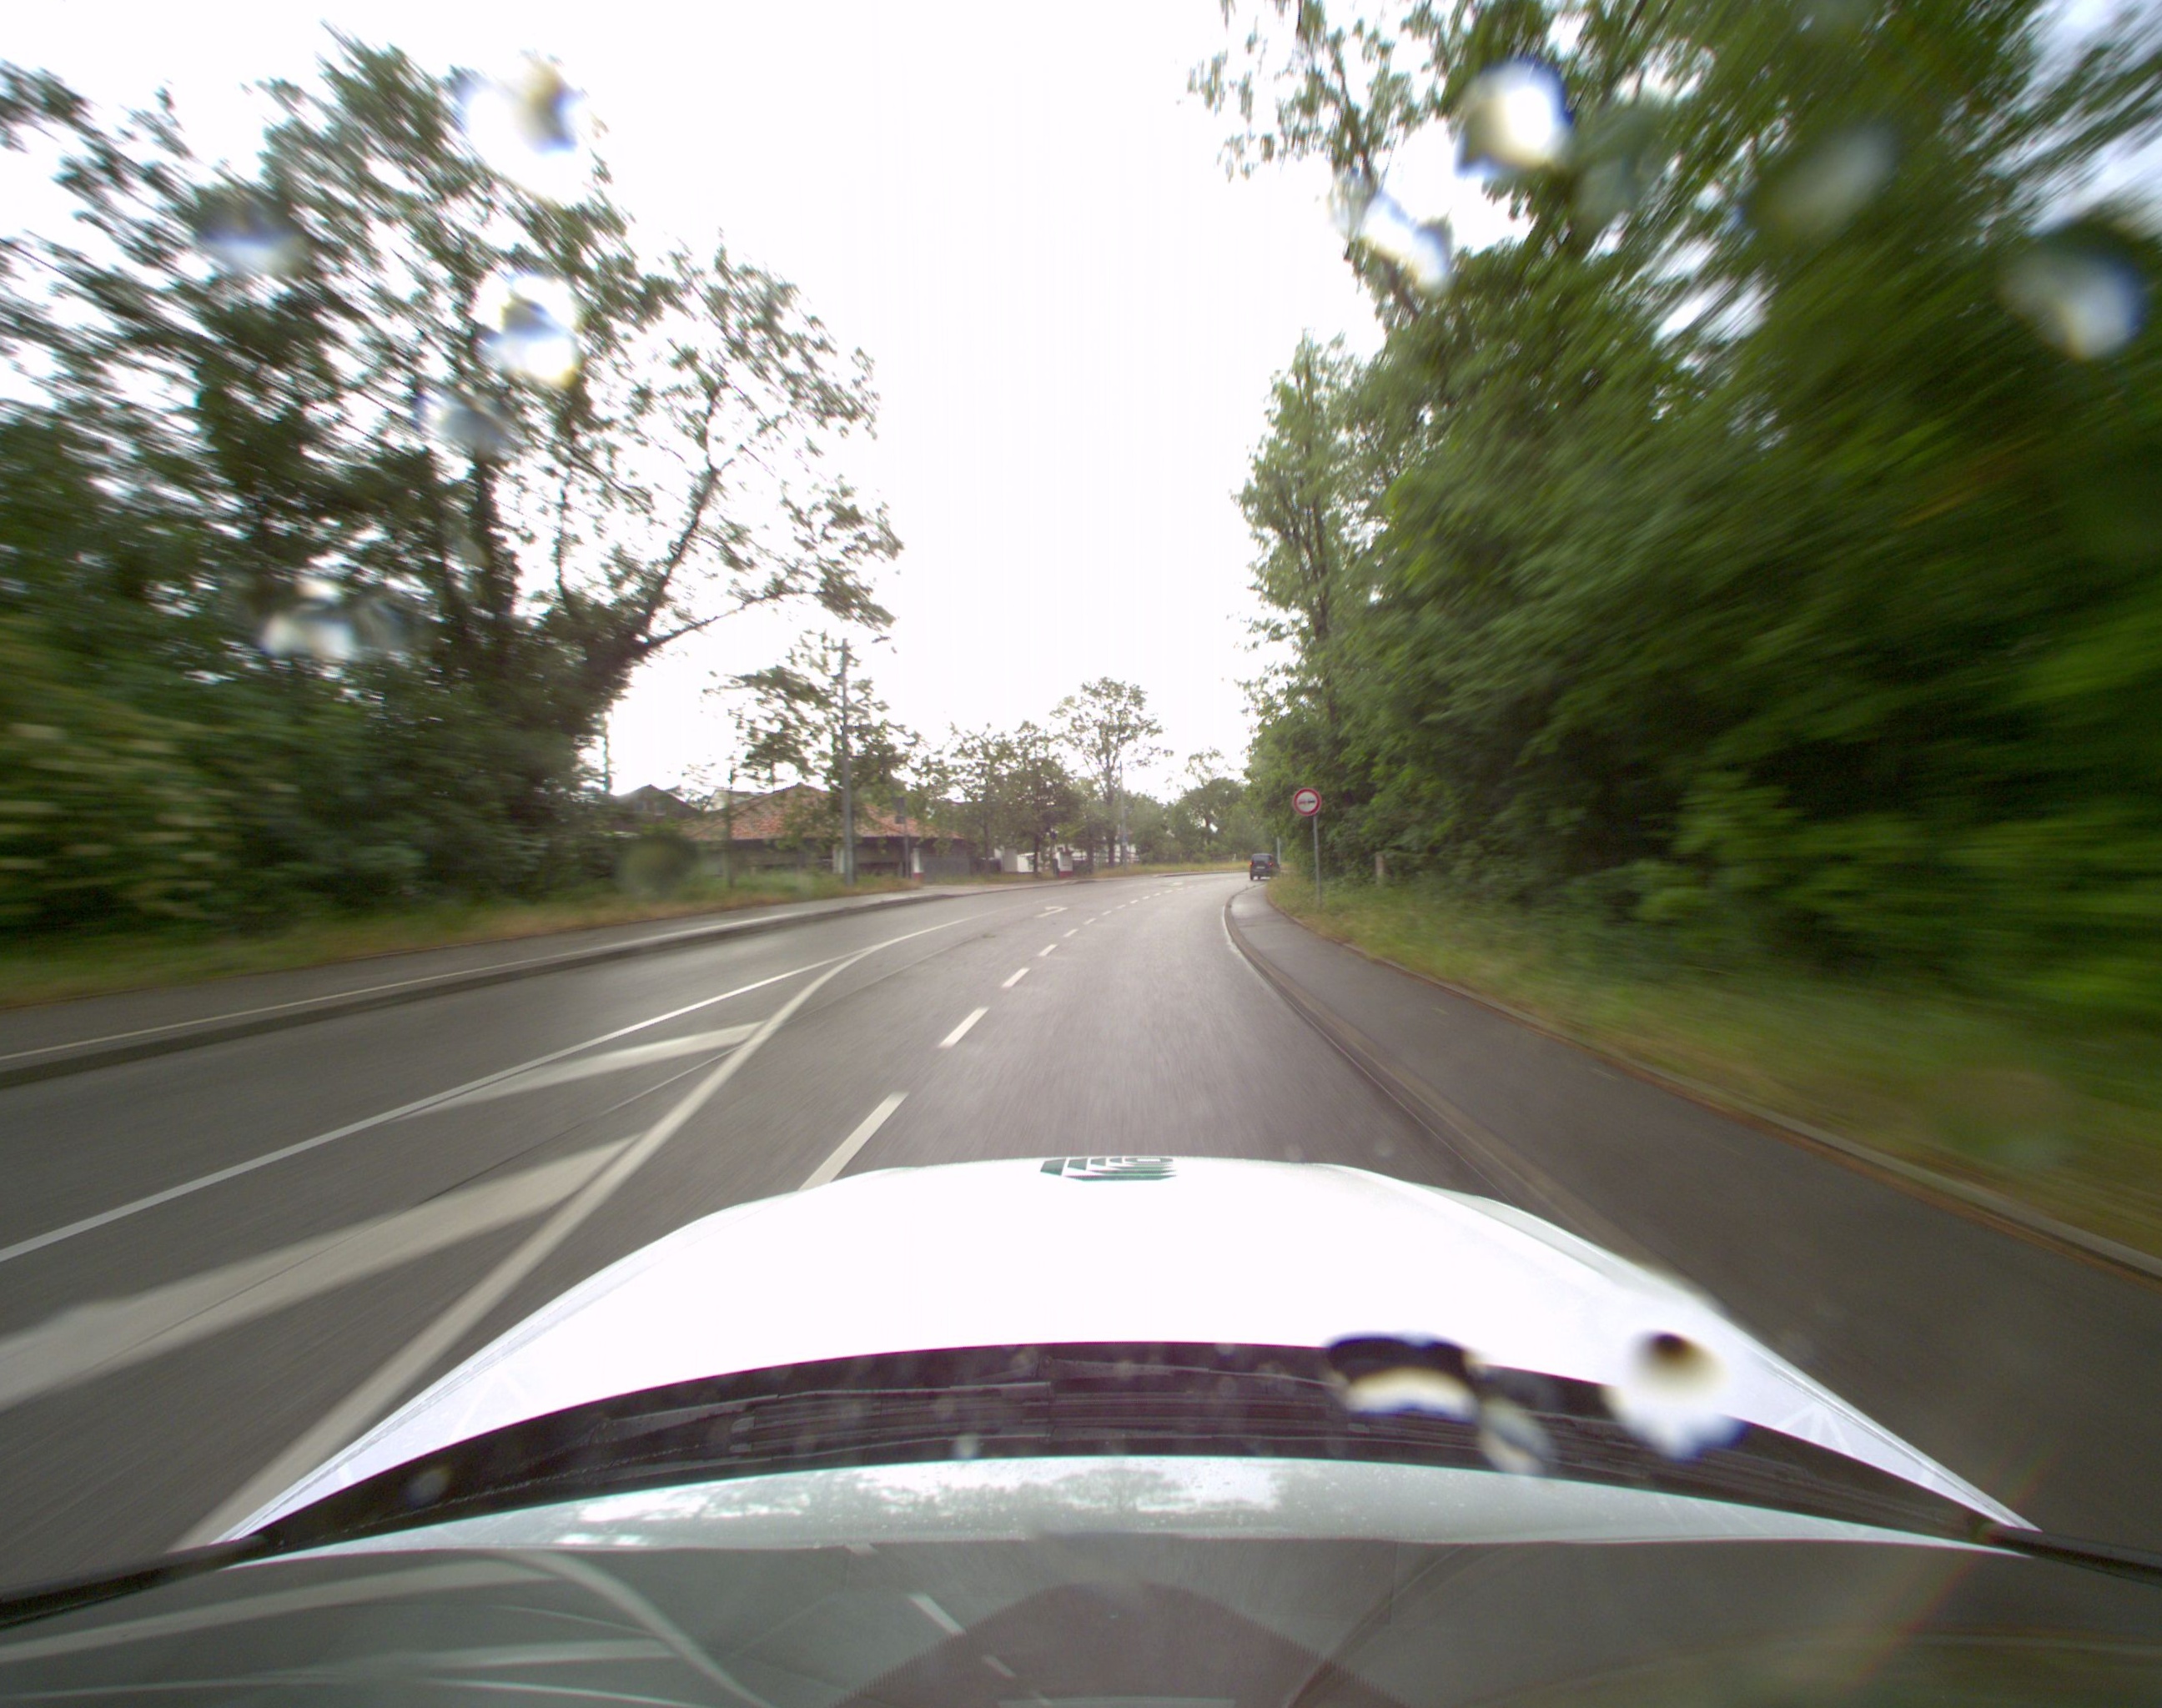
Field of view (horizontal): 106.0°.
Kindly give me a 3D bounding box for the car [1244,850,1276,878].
[{"bbox_3d":[12.699,0.715,57.627,1.813,1.794,4.017,-6,-3,16],"label":"car"}]
